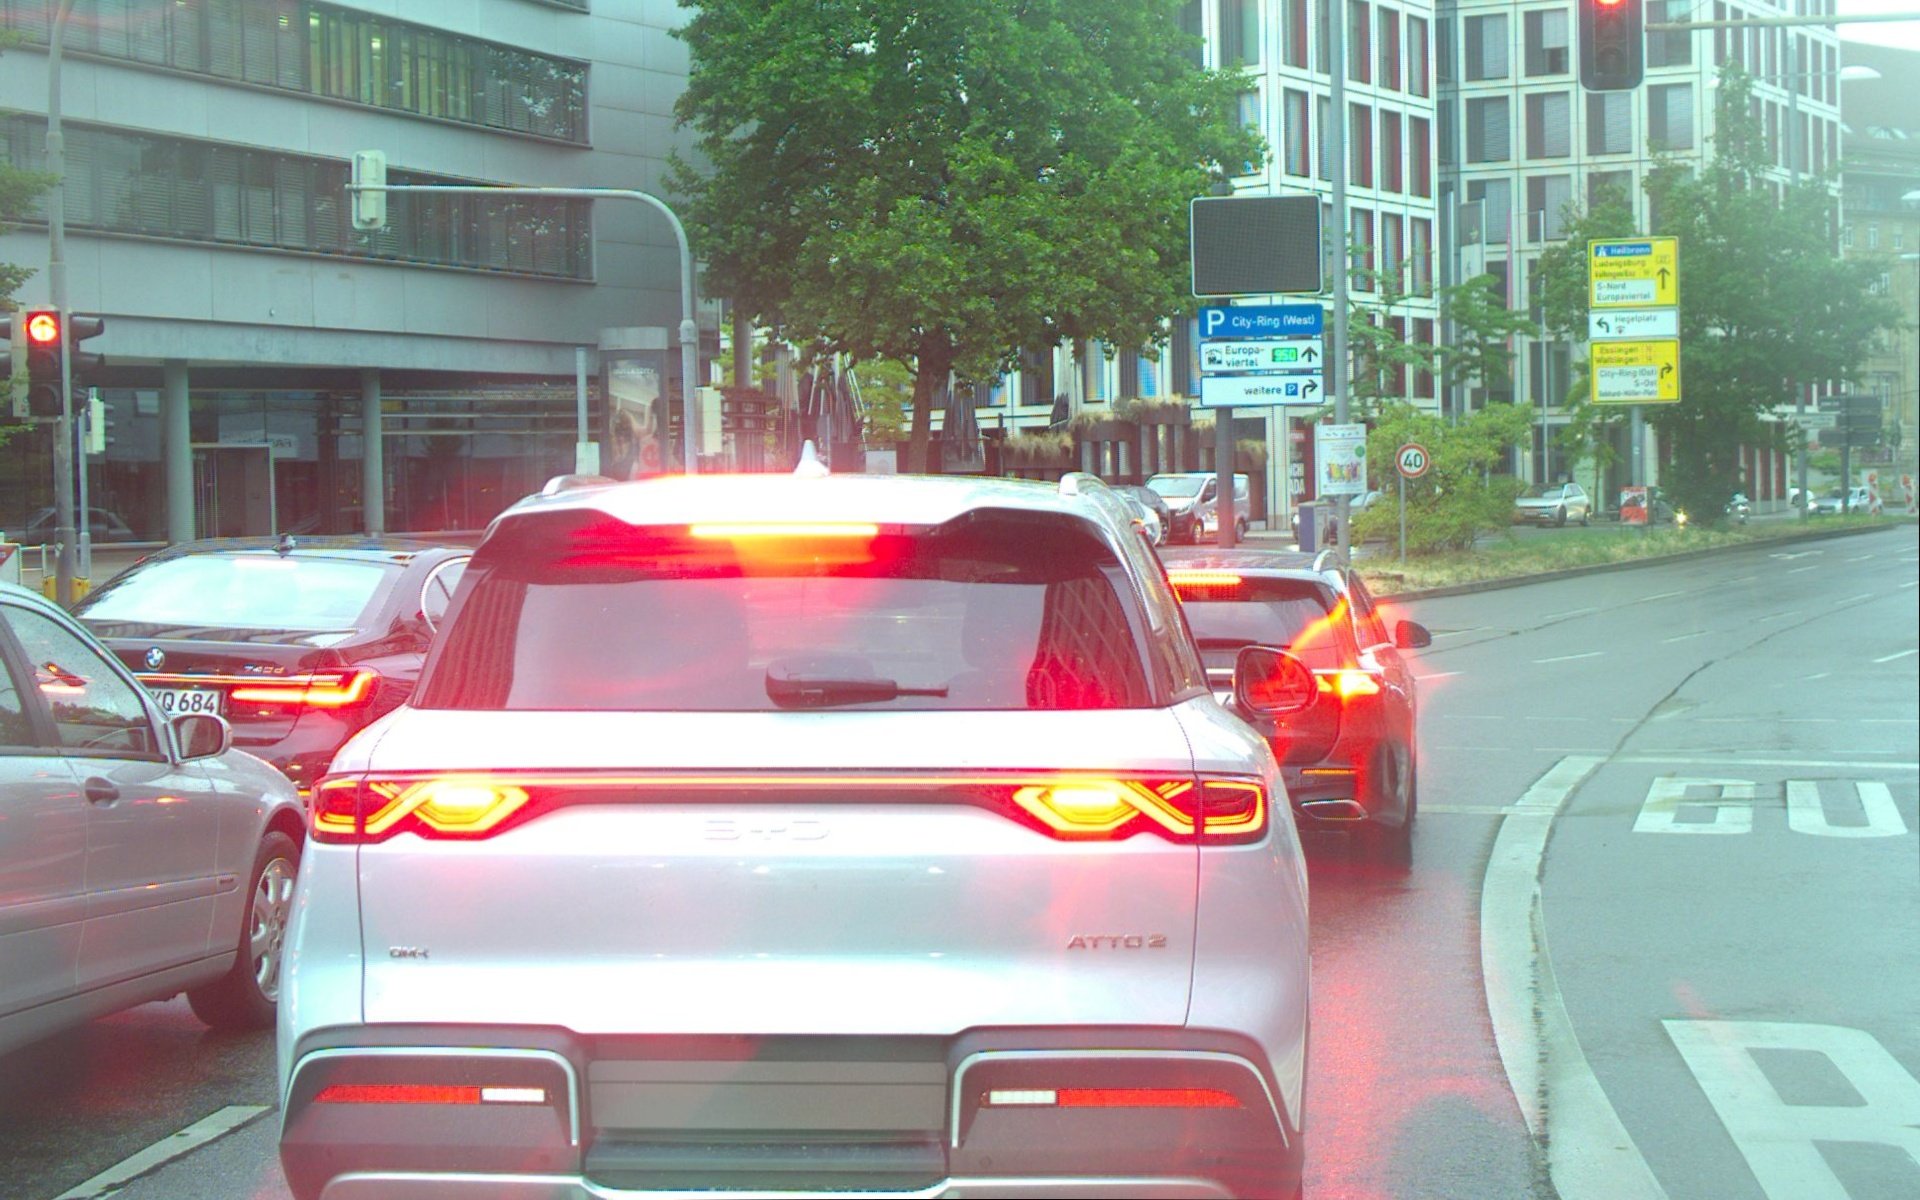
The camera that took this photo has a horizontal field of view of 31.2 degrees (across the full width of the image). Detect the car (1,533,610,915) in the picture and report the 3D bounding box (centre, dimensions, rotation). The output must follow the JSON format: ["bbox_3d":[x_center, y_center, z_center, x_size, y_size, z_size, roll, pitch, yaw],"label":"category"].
[{"bbox_3d":[-2.790,0.467,15.528,1.571,1.481,3.999,1,1,6],"label":"car"}]

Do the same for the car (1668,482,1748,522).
[{"bbox_3d":[28.529,-3.741,131.064,1.996,1.483,3.994,0,2,27],"label":"car"}]

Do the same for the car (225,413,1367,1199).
[{"bbox_3d":[-0.212,0.535,7.379,1.776,1.673,4.000,1,1,2],"label":"car"}]

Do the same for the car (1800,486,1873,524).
[{"bbox_3d":[35.605,-3.858,139.608,1.996,1.483,3.994,0,2,27],"label":"car"}]

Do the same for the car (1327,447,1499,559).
[{"bbox_3d":[8.611,-1.807,65.014,1.996,2.007,4.843,1,1,23],"label":"car"}]

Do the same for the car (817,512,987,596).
[{"bbox_3d":[-0.962,-0.775,59.050,1.692,1.380,3.865,1,1,19],"label":"car"}]

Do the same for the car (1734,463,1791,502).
[{"bbox_3d":[38.221,-5.584,163.611,1.609,1.735,3.439,1,1,32],"label":"car"}]

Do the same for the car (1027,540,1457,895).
[{"bbox_3d":[1.478,0.479,16.644,1.694,1.481,3.998,1,1,10],"label":"car"}]

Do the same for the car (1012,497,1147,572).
[{"bbox_3d":[2.621,-1.433,74.503,1.645,1.575,4.081,1,1,21],"label":"car"}]

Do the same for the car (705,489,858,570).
[{"bbox_3d":[-3.553,-1.397,69.089,1.640,1.565,3.714,1,1,22],"label":"car"}]

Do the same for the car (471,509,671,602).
[{"bbox_3d":[-6.955,-0.825,61.873,1.995,1.605,3.996,1,1,20],"label":"car"}]

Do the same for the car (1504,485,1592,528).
[{"bbox_3d":[21.019,-3.353,122.749,1.996,1.483,3.994,0,2,27],"label":"car"}]

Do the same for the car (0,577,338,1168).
[{"bbox_3d":[-3.008,0.649,8.896,1.571,1.402,4.108,1,1,7],"label":"car"}]

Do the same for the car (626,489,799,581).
[{"bbox_3d":[-4.231,-1.132,59.420,1.645,1.530,4.149,1,1,16],"label":"car"}]

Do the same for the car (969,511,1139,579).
[{"bbox_3d":[2.268,-1.326,81.318,1.816,1.505,5.188,1,2,29],"label":"car"}]

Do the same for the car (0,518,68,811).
[{"bbox_3d":[-5.871,0.324,16.282,1.707,1.481,3.998,1,1,9],"label":"car"}]

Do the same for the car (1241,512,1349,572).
[{"bbox_3d":[9.210,-1.606,94.156,1.633,1.553,4.588,0,2,23],"label":"car"}]
